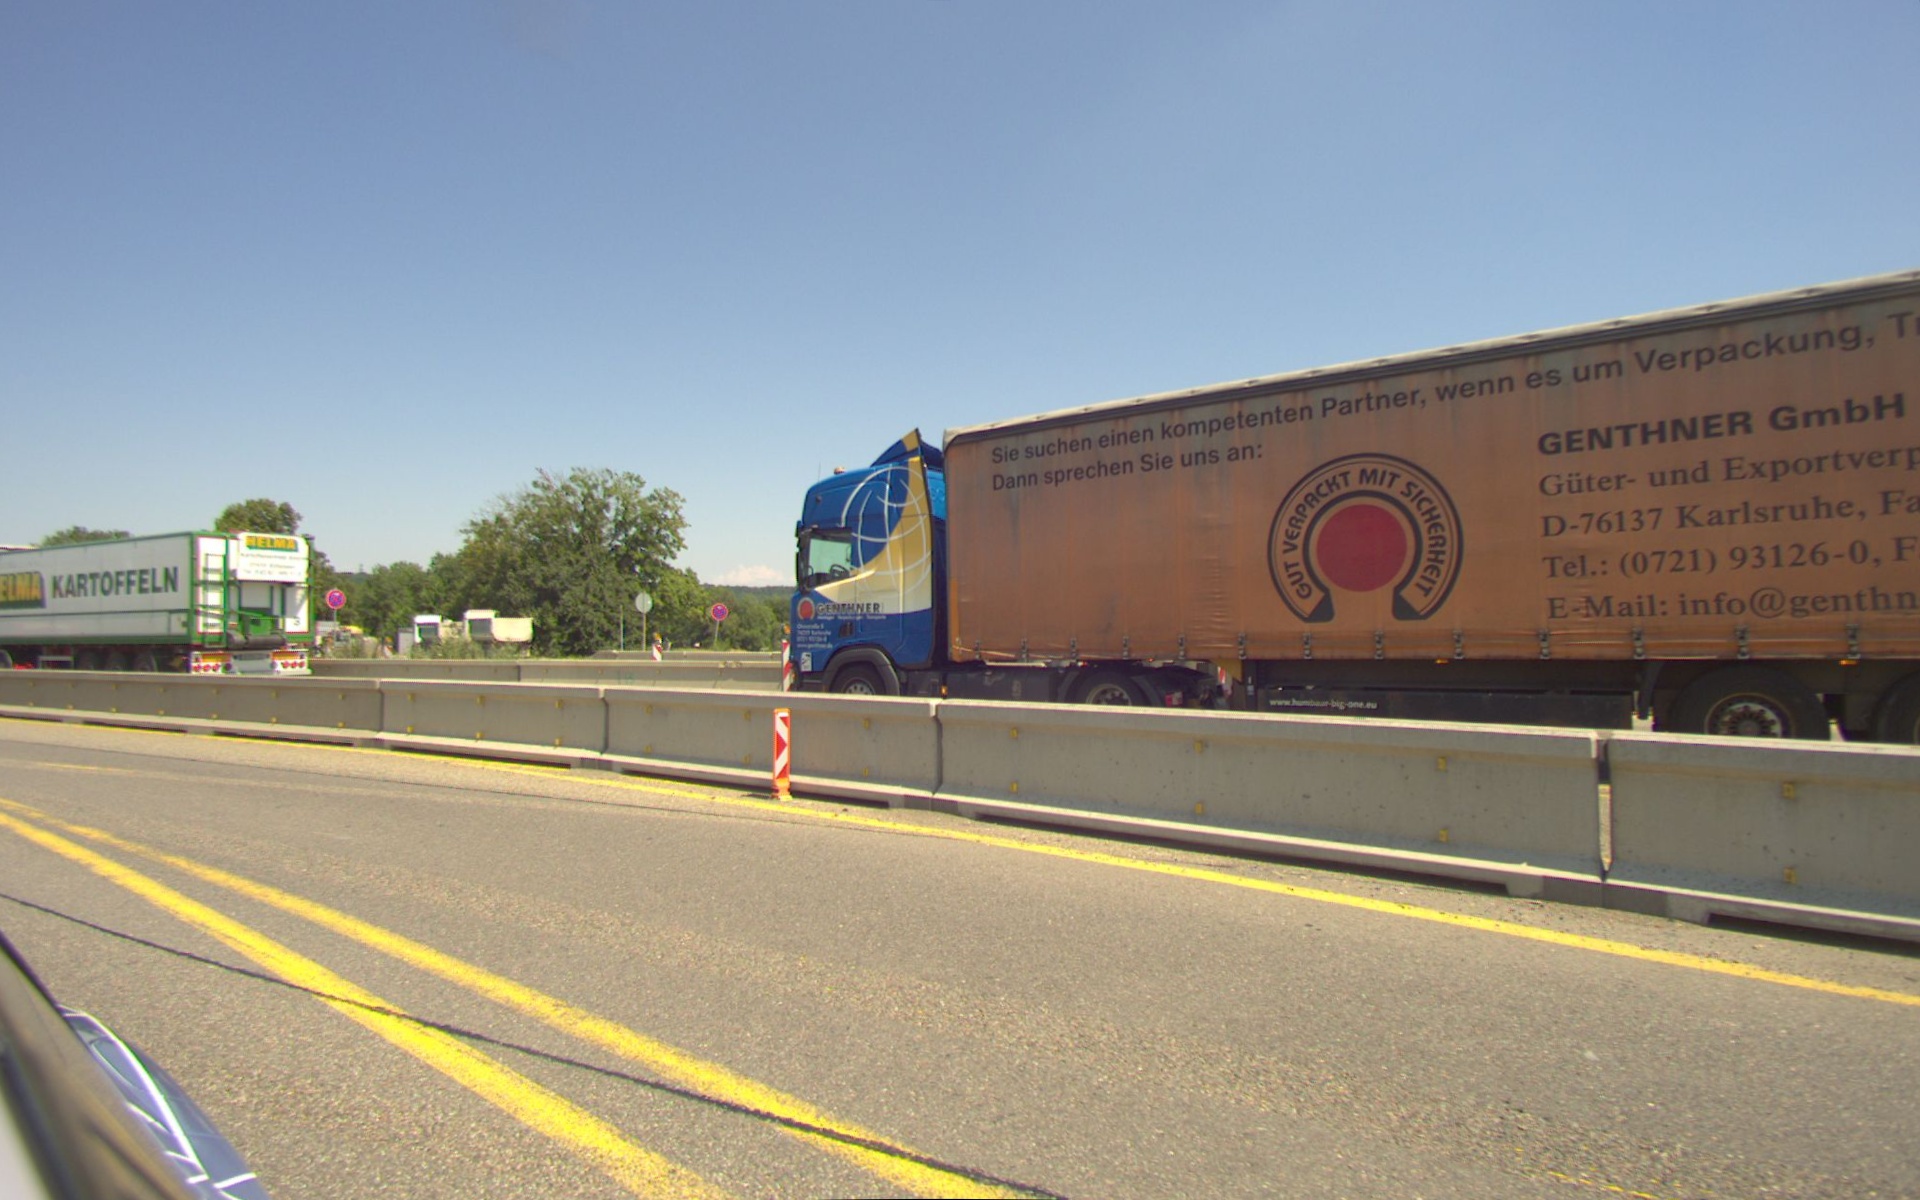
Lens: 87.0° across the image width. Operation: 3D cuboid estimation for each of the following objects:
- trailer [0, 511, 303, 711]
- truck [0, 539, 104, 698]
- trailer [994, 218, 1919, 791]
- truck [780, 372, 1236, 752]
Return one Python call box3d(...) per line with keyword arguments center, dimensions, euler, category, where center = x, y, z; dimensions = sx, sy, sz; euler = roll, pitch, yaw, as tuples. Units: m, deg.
box3d(center=(-21.137, 0.363, 25.092), dimensions=(12.438, 4.183, 2.339), euler=(-1, -1, 28), category="trailer")
box3d(center=(-26.236, 0.520, 27.838), dimensions=(5.053, 4.038, 2.433), euler=(-1, -1, 28), category="truck")
box3d(center=(6.455, -0.669, 9.371), dimensions=(13.037, 4.183, 2.564), euler=(-2, -1, 36), category="trailer")
box3d(center=(0.529, -0.354, 13.528), dimensions=(5.529, 4.112, 2.524), euler=(-2, -1, 33), category="truck")
